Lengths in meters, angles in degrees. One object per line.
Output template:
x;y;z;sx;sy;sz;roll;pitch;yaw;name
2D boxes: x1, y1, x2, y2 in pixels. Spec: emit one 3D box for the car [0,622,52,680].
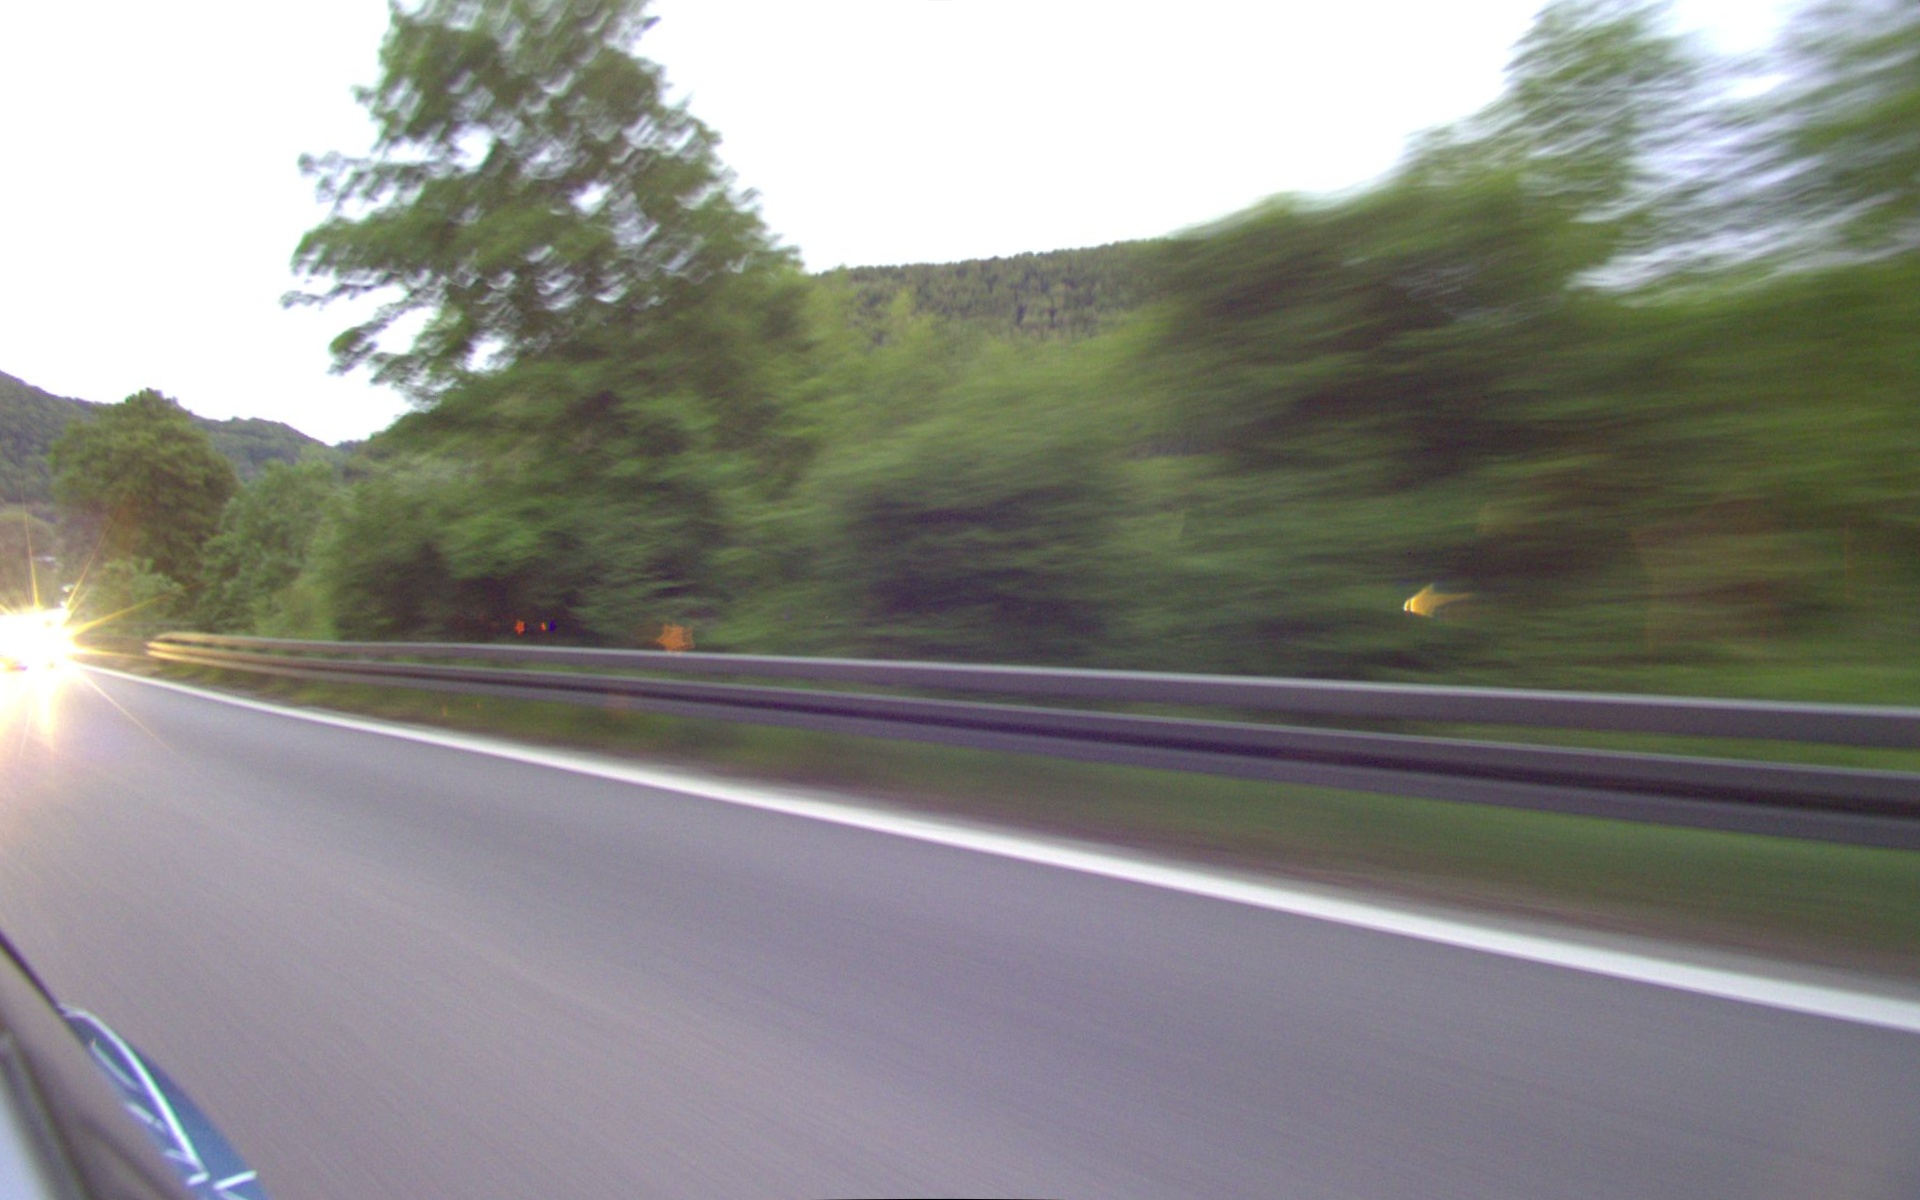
-26.186;1.370;27.633;3.766;1.479;1.668;-1;0;42;car
